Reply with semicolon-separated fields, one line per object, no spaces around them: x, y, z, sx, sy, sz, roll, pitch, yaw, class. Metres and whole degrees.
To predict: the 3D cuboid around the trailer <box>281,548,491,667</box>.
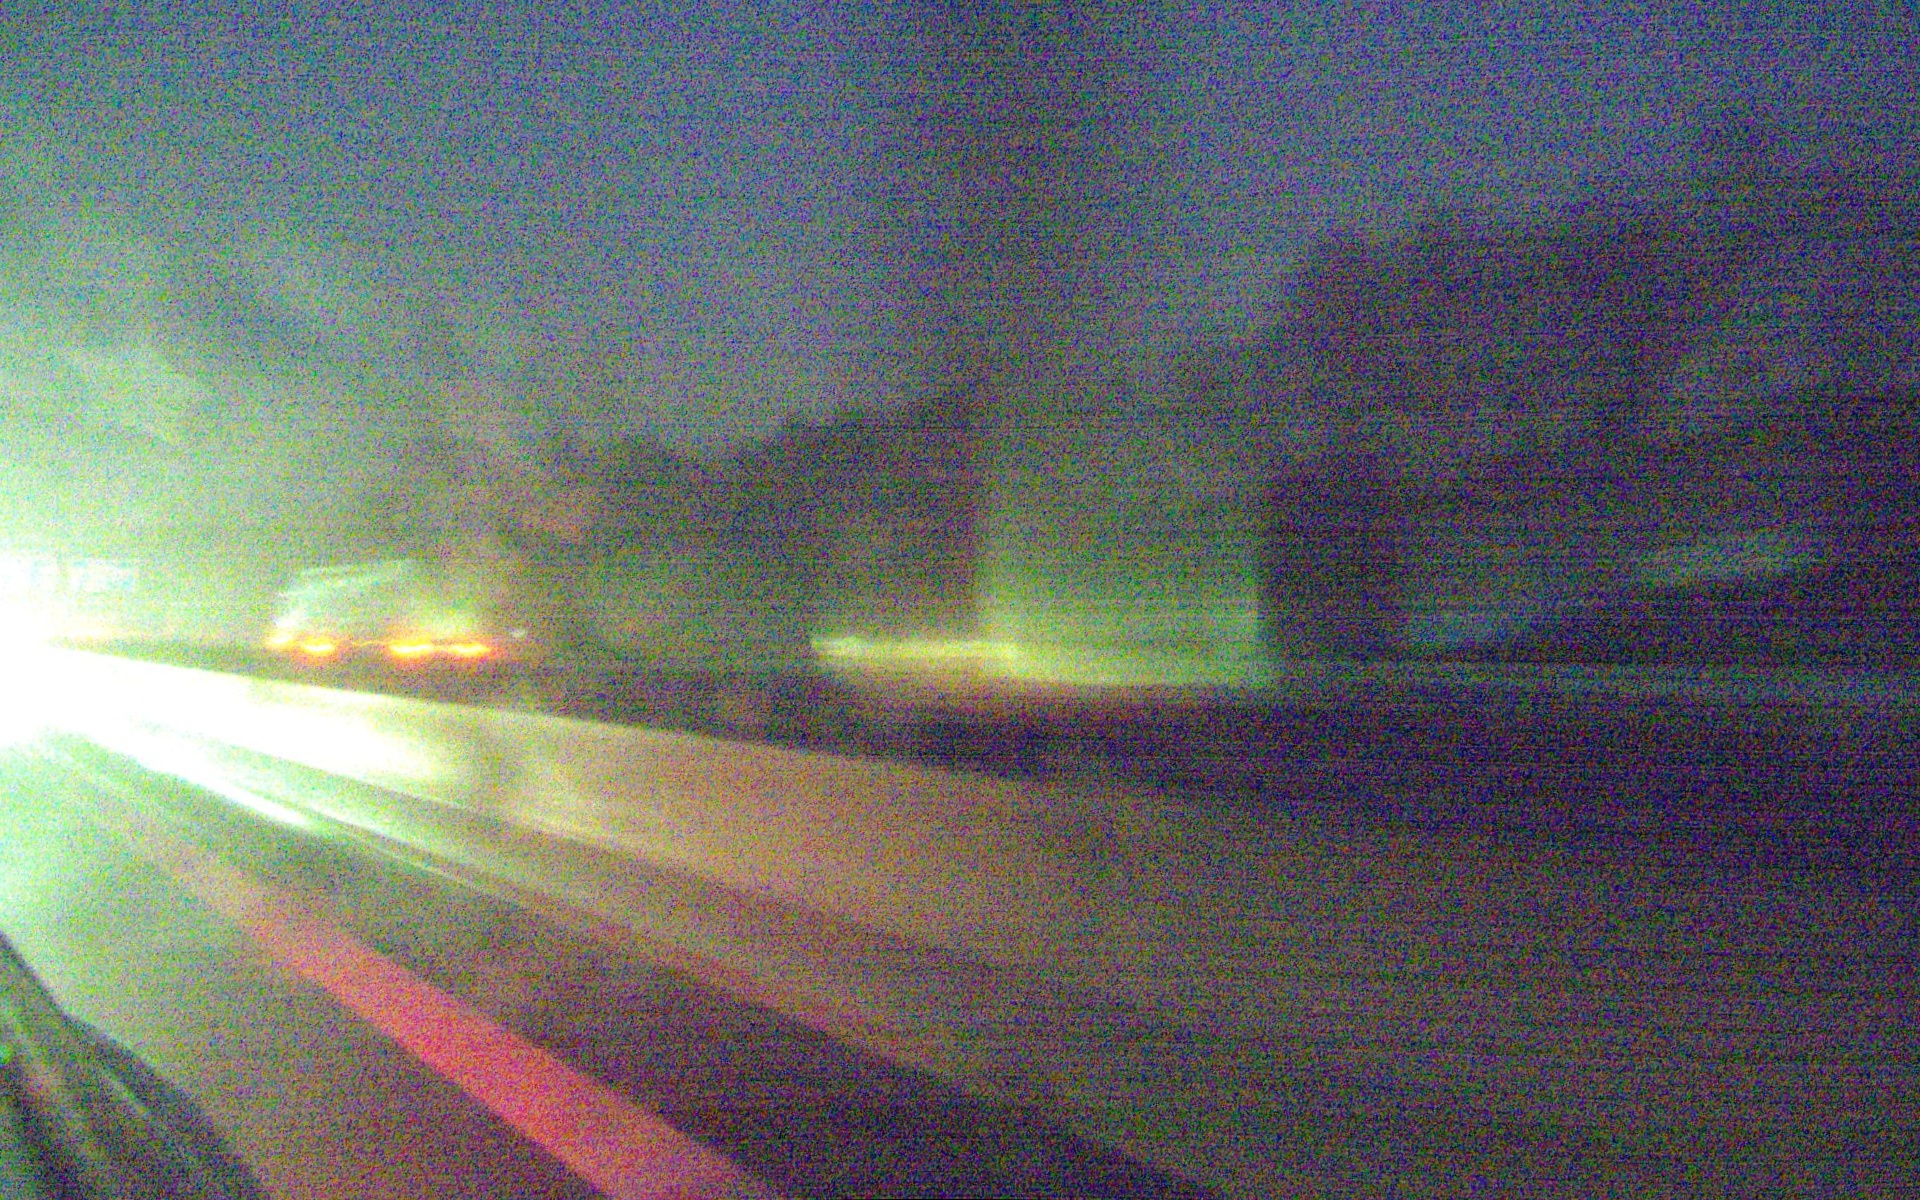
-24.933;0.330;43.250;14.856;4.299;2.943;-1;3;42;trailer

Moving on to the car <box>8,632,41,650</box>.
-93.082;4.089;100.702;4.589;1.773;1.972;-2;-3;42;car

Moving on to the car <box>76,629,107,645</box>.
-94.456;3.986;110.094;4.244;1.727;1.972;-2;-3;42;car

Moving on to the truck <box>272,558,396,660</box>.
-29.078;0.410;46.902;6.502;4.299;2.943;-1;3;42;truck
